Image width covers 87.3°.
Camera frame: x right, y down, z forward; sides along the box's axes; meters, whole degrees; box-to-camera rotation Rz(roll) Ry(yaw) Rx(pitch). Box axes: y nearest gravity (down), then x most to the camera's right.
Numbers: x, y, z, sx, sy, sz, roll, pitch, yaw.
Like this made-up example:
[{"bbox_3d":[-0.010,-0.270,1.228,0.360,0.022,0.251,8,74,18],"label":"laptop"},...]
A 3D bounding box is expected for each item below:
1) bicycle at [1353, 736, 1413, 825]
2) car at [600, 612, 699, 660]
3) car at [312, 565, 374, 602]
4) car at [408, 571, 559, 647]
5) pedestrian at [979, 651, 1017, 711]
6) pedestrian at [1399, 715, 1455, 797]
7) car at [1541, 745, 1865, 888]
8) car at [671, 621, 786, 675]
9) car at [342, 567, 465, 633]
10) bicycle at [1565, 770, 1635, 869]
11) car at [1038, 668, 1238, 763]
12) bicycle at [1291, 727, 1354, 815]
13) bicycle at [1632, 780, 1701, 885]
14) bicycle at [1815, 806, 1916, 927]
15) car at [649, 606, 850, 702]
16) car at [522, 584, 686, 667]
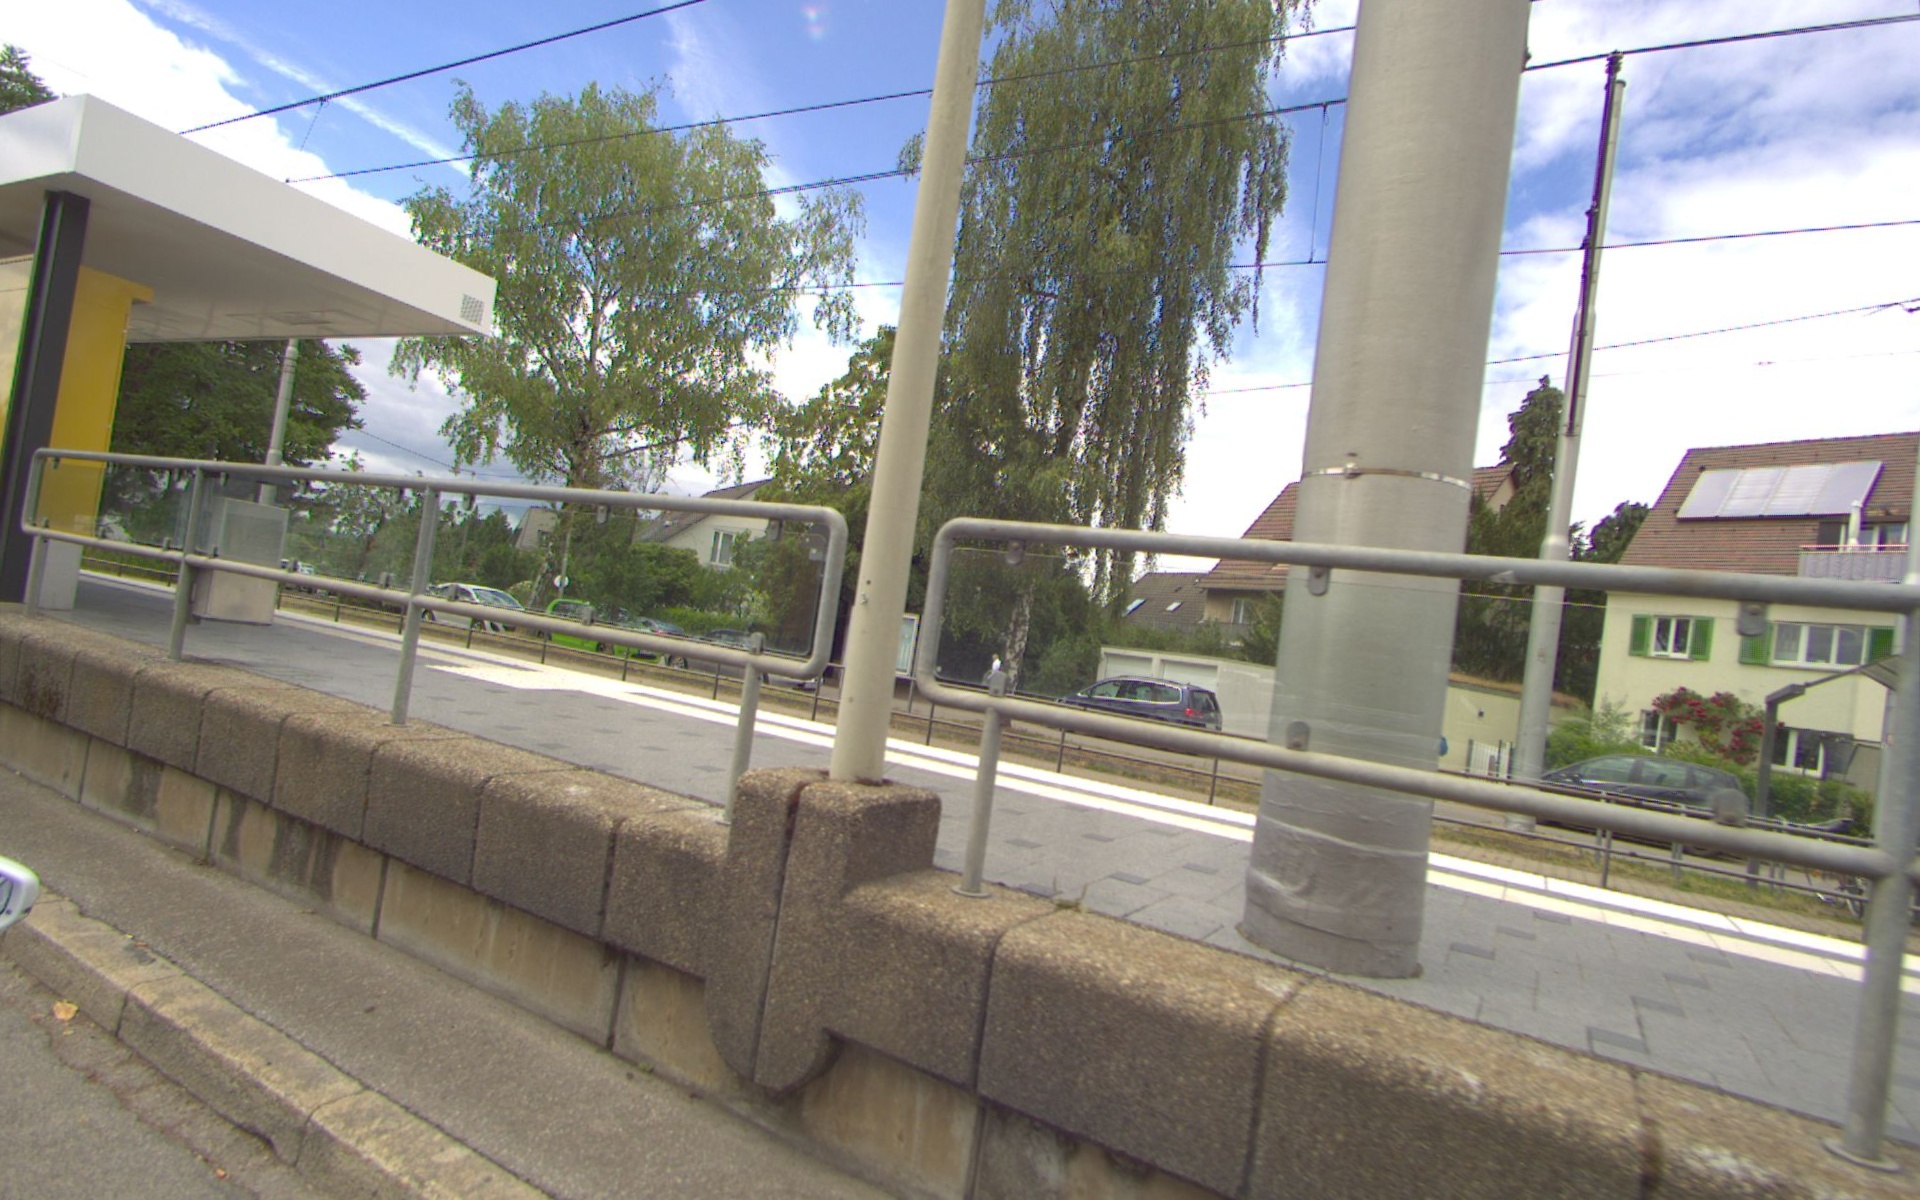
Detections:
[{"bbox_3d":[5.831,2.440,13.809,0.547,1.053,1.771,7,-3,27],"label":"bicycle"},{"bbox_3d":[-13.158,1.515,42.475,4.635,1.505,1.755,4,-4,43],"label":"car"},{"bbox_3d":[-34.114,-0.938,55.554,2.058,1.591,4.212,10,-4,-41],"label":"car"},{"bbox_3d":[-13.670,0.246,28.820,4.030,1.591,1.761,7,-3,30],"label":"car"},{"bbox_3d":[1.216,2.584,32.349,0.816,1.791,0.681,8,-2,-20],"label":"pedestrian"},{"bbox_3d":[10.760,3.581,23.182,0.932,1.704,0.810,7,-2,30],"label":"pedestrian"},{"bbox_3d":[13.093,3.726,17.923,4.362,1.502,1.814,6,-3,42],"label":"car"},{"bbox_3d":[-8.928,1.807,38.529,4.864,1.505,1.755,4,-4,43],"label":"car"},{"bbox_3d":[-17.446,-0.027,31.459,4.439,1.504,1.840,6,-3,41],"label":"car"},{"bbox_3d":[8.004,2.692,12.541,0.548,1.053,1.767,6,-3,36],"label":"bicycle"},{"bbox_3d":[4.476,2.937,25.951,1.812,1.654,4.779,10,-4,-44],"label":"car"},{"bbox_3d":[5.015,2.317,13.867,0.547,1.053,1.772,7,-3,26],"label":"bicycle"},{"bbox_3d":[8.522,2.757,12.133,0.548,1.053,1.767,6,-3,36],"label":"bicycle"},{"bbox_3d":[9.955,2.887,11.104,0.548,1.053,1.767,6,-3,36],"label":"bicycle"},{"bbox_3d":[-4.969,1.268,23.703,4.188,1.591,2.069,7,-3,30],"label":"car"},{"bbox_3d":[-9.329,0.652,26.304,3.932,1.591,1.735,7,-3,30],"label":"car"}]
